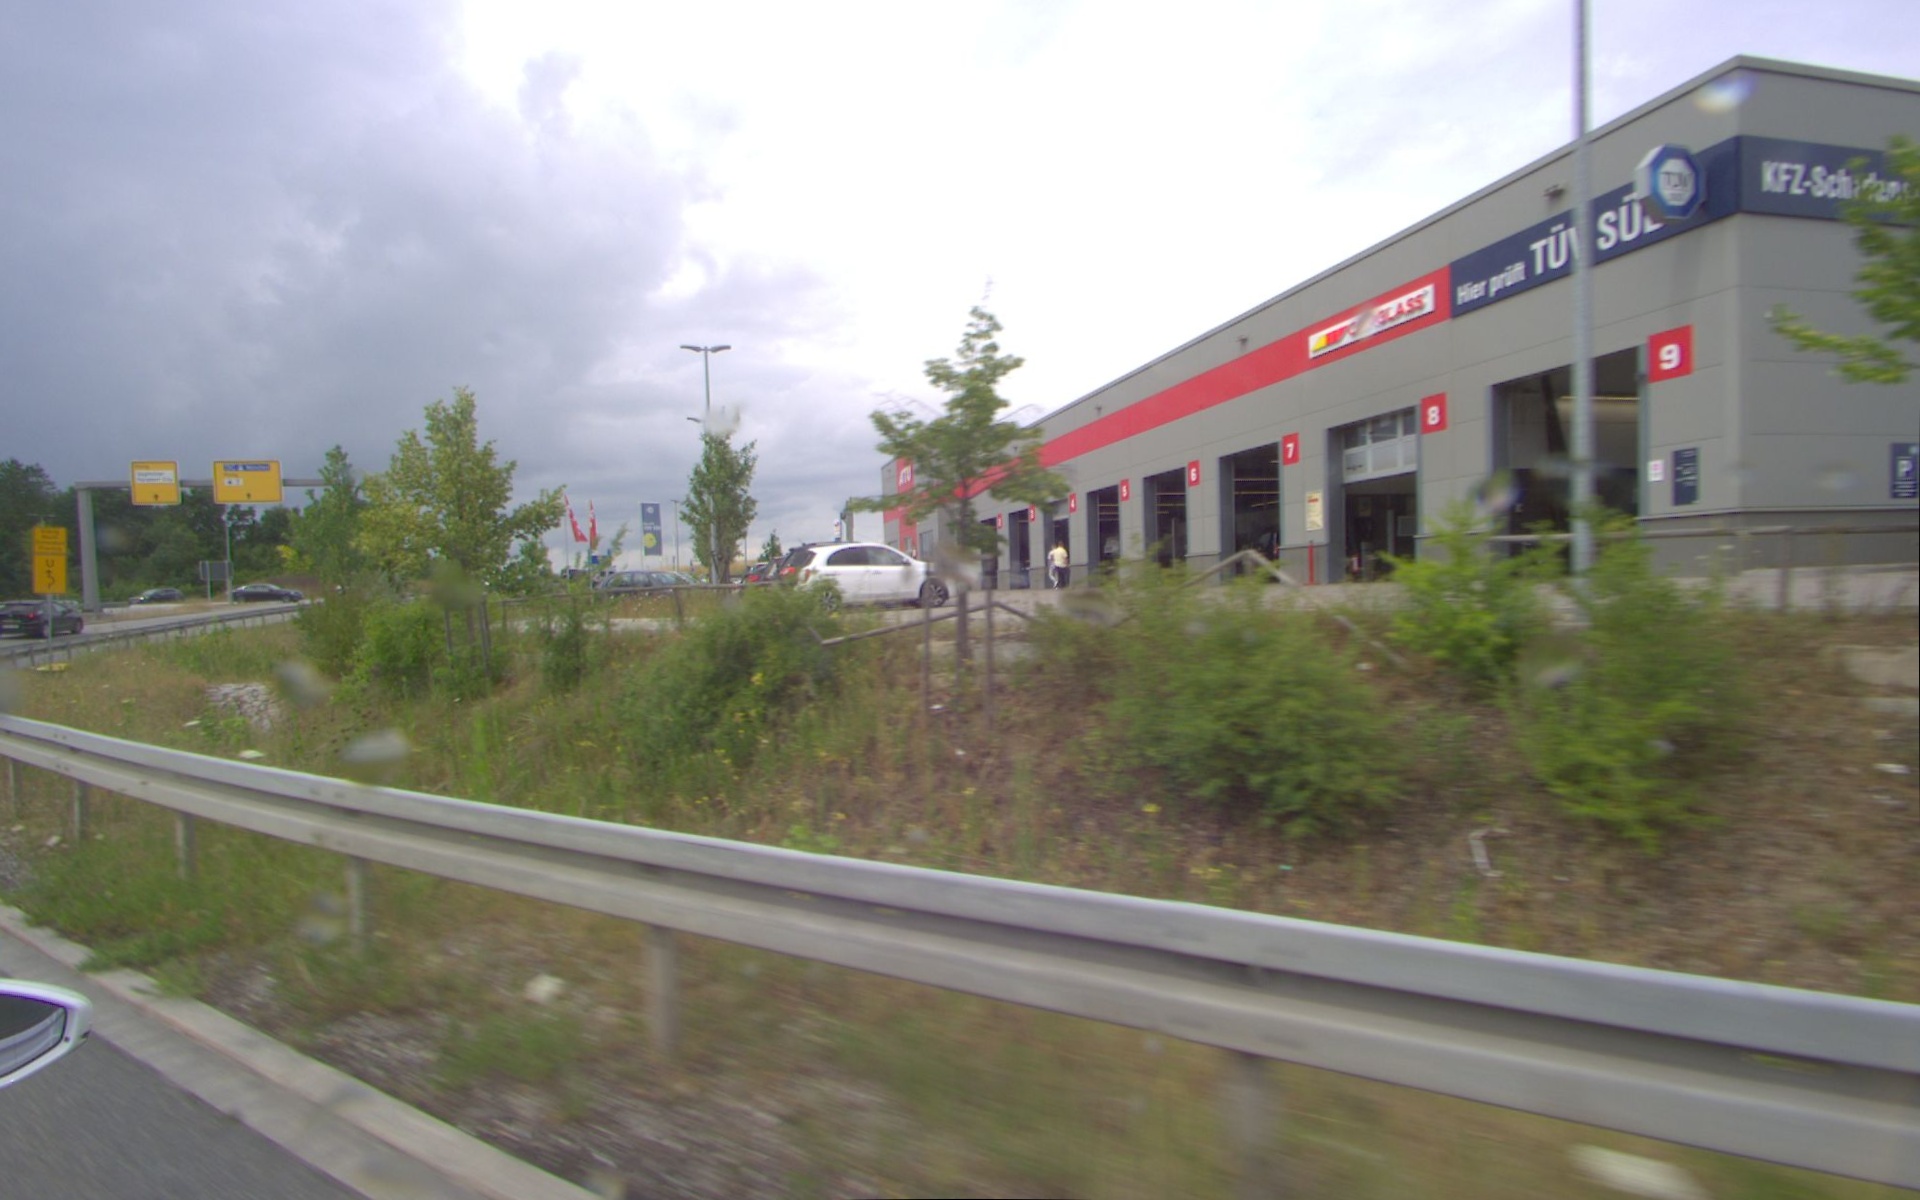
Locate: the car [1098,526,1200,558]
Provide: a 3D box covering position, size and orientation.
[{"bbox_3d":[7.893,-2.415,41.942,3.841,1.241,1.659,0,0,-13],"label":"car"}]

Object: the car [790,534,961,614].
[{"bbox_3d":[-1.944,-0.602,22.752,3.562,1.559,1.641,-4,2,-14],"label":"car"}]

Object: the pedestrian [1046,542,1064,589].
[{"bbox_3d":[3.638,-1.310,38.351,0.625,1.765,0.592,-1,2,8],"label":"pedestrian"}]

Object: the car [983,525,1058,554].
[{"bbox_3d":[3.371,-3.390,56.193,3.841,1.537,1.793,-1,4,-13],"label":"car"}]

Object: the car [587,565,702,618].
[{"bbox_3d":[-11.181,-0.288,35.474,3.707,1.660,1.660,-3,1,27],"label":"car"}]

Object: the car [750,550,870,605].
[{"bbox_3d":[-5.224,-0.782,34.673,3.826,1.651,1.718,-3,1,-17],"label":"car"}]

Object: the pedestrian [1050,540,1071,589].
[{"bbox_3d":[3.659,-1.285,36.362,0.662,1.765,0.629,-1,2,10],"label":"pedestrian"}]

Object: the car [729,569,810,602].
[{"bbox_3d":[-9.812,-0.735,51.525,3.895,1.408,1.593,-4,2,-15],"label":"car"}]

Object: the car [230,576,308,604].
[{"bbox_3d":[-49.112,-0.721,71.190,4.076,1.807,1.901,-2,2,-4],"label":"car"}]

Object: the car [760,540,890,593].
[{"bbox_3d":[-3.720,-0.905,27.403,3.382,1.352,1.641,-1,1,-13],"label":"car"}]

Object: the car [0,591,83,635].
[{"bbox_3d":[-36.447,0.503,39.414,1.845,1.626,3.722,-1,0,-24],"label":"car"}]

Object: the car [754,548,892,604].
[{"bbox_3d":[-4.121,-0.728,30.147,3.819,1.558,1.671,-2,1,-21],"label":"car"}]

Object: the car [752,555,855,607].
[{"bbox_3d":[-6.272,-0.761,40.101,3.792,1.844,1.718,-3,1,-17],"label":"car"}]

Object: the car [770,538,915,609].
[{"bbox_3d":[-2.969,-0.650,25.000,3.382,1.657,1.729,-1,1,-13],"label":"car"}]

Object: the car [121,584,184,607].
[{"bbox_3d":[-71.508,-0.426,88.744,1.824,1.689,4.156,-2,4,7],"label":"car"}]

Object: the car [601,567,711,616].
[{"bbox_3d":[-11.664,-0.334,38.444,3.748,1.629,1.751,-3,2,26],"label":"car"}]
